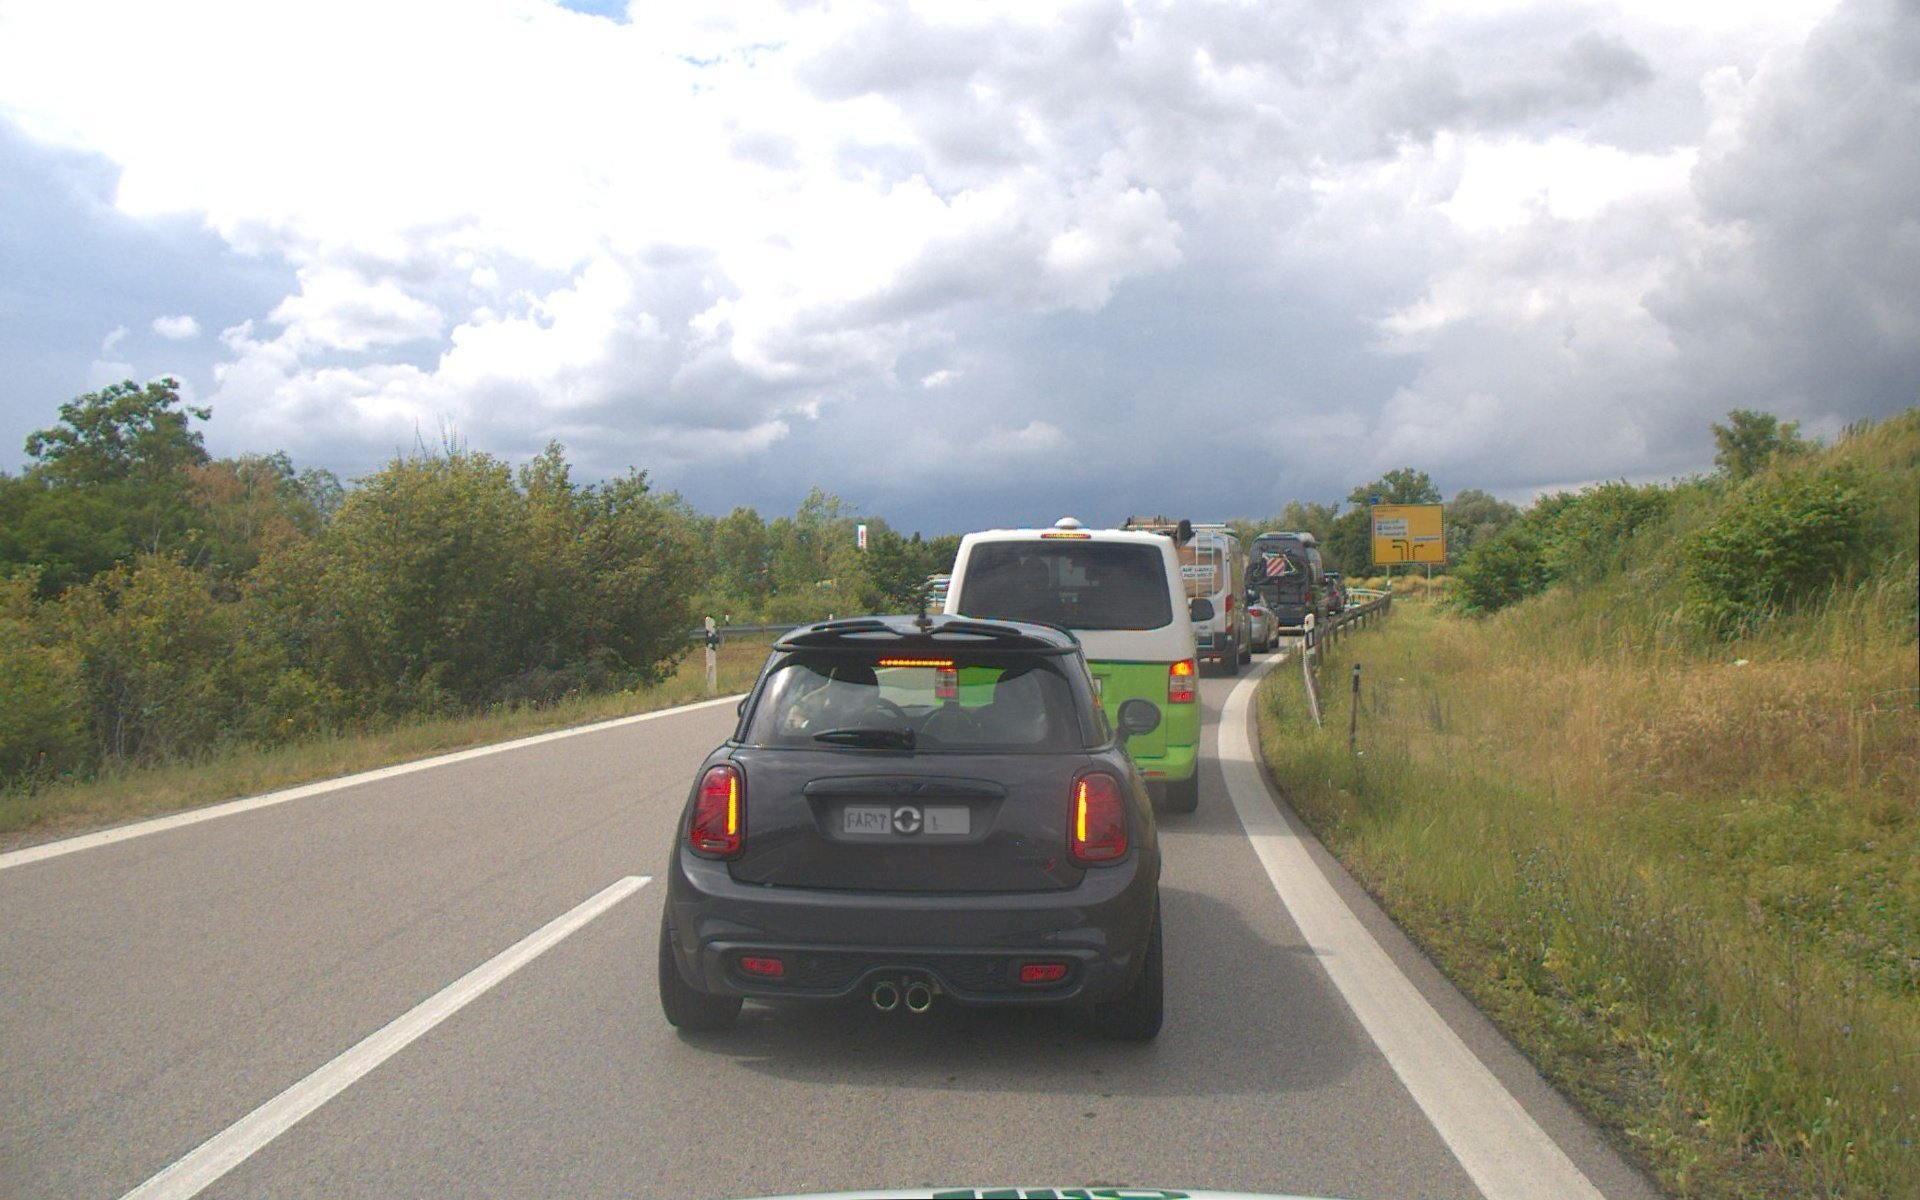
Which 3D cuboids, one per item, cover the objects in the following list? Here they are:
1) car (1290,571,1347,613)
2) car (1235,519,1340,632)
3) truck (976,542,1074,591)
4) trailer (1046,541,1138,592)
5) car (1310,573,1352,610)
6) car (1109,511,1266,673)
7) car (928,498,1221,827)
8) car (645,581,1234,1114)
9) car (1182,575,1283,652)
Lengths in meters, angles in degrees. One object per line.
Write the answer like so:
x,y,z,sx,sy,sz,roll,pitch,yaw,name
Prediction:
14.703,-0.309,67.758,1.853,1.616,4.497,1,0,18,car
9.832,-0.670,49.203,2.262,3.122,6.665,1,0,18,car
5.477,-2.797,142.165,2.815,4.045,9.896,1,0,-37,truck
10.646,-2.672,134.424,3.006,3.966,8.679,1,0,-31,trailer
20.134,-0.456,89.927,2.050,1.916,4.499,1,0,10,car
4.269,-0.125,30.221,2.165,2.668,5.538,1,0,15,car
1.004,0.388,12.668,1.870,2.081,4.184,0,0,8,car
0.037,0.723,6.832,1.762,1.573,3.740,0,0,3,car
6.430,0.311,38.649,1.951,1.671,3.931,1,0,15,car
